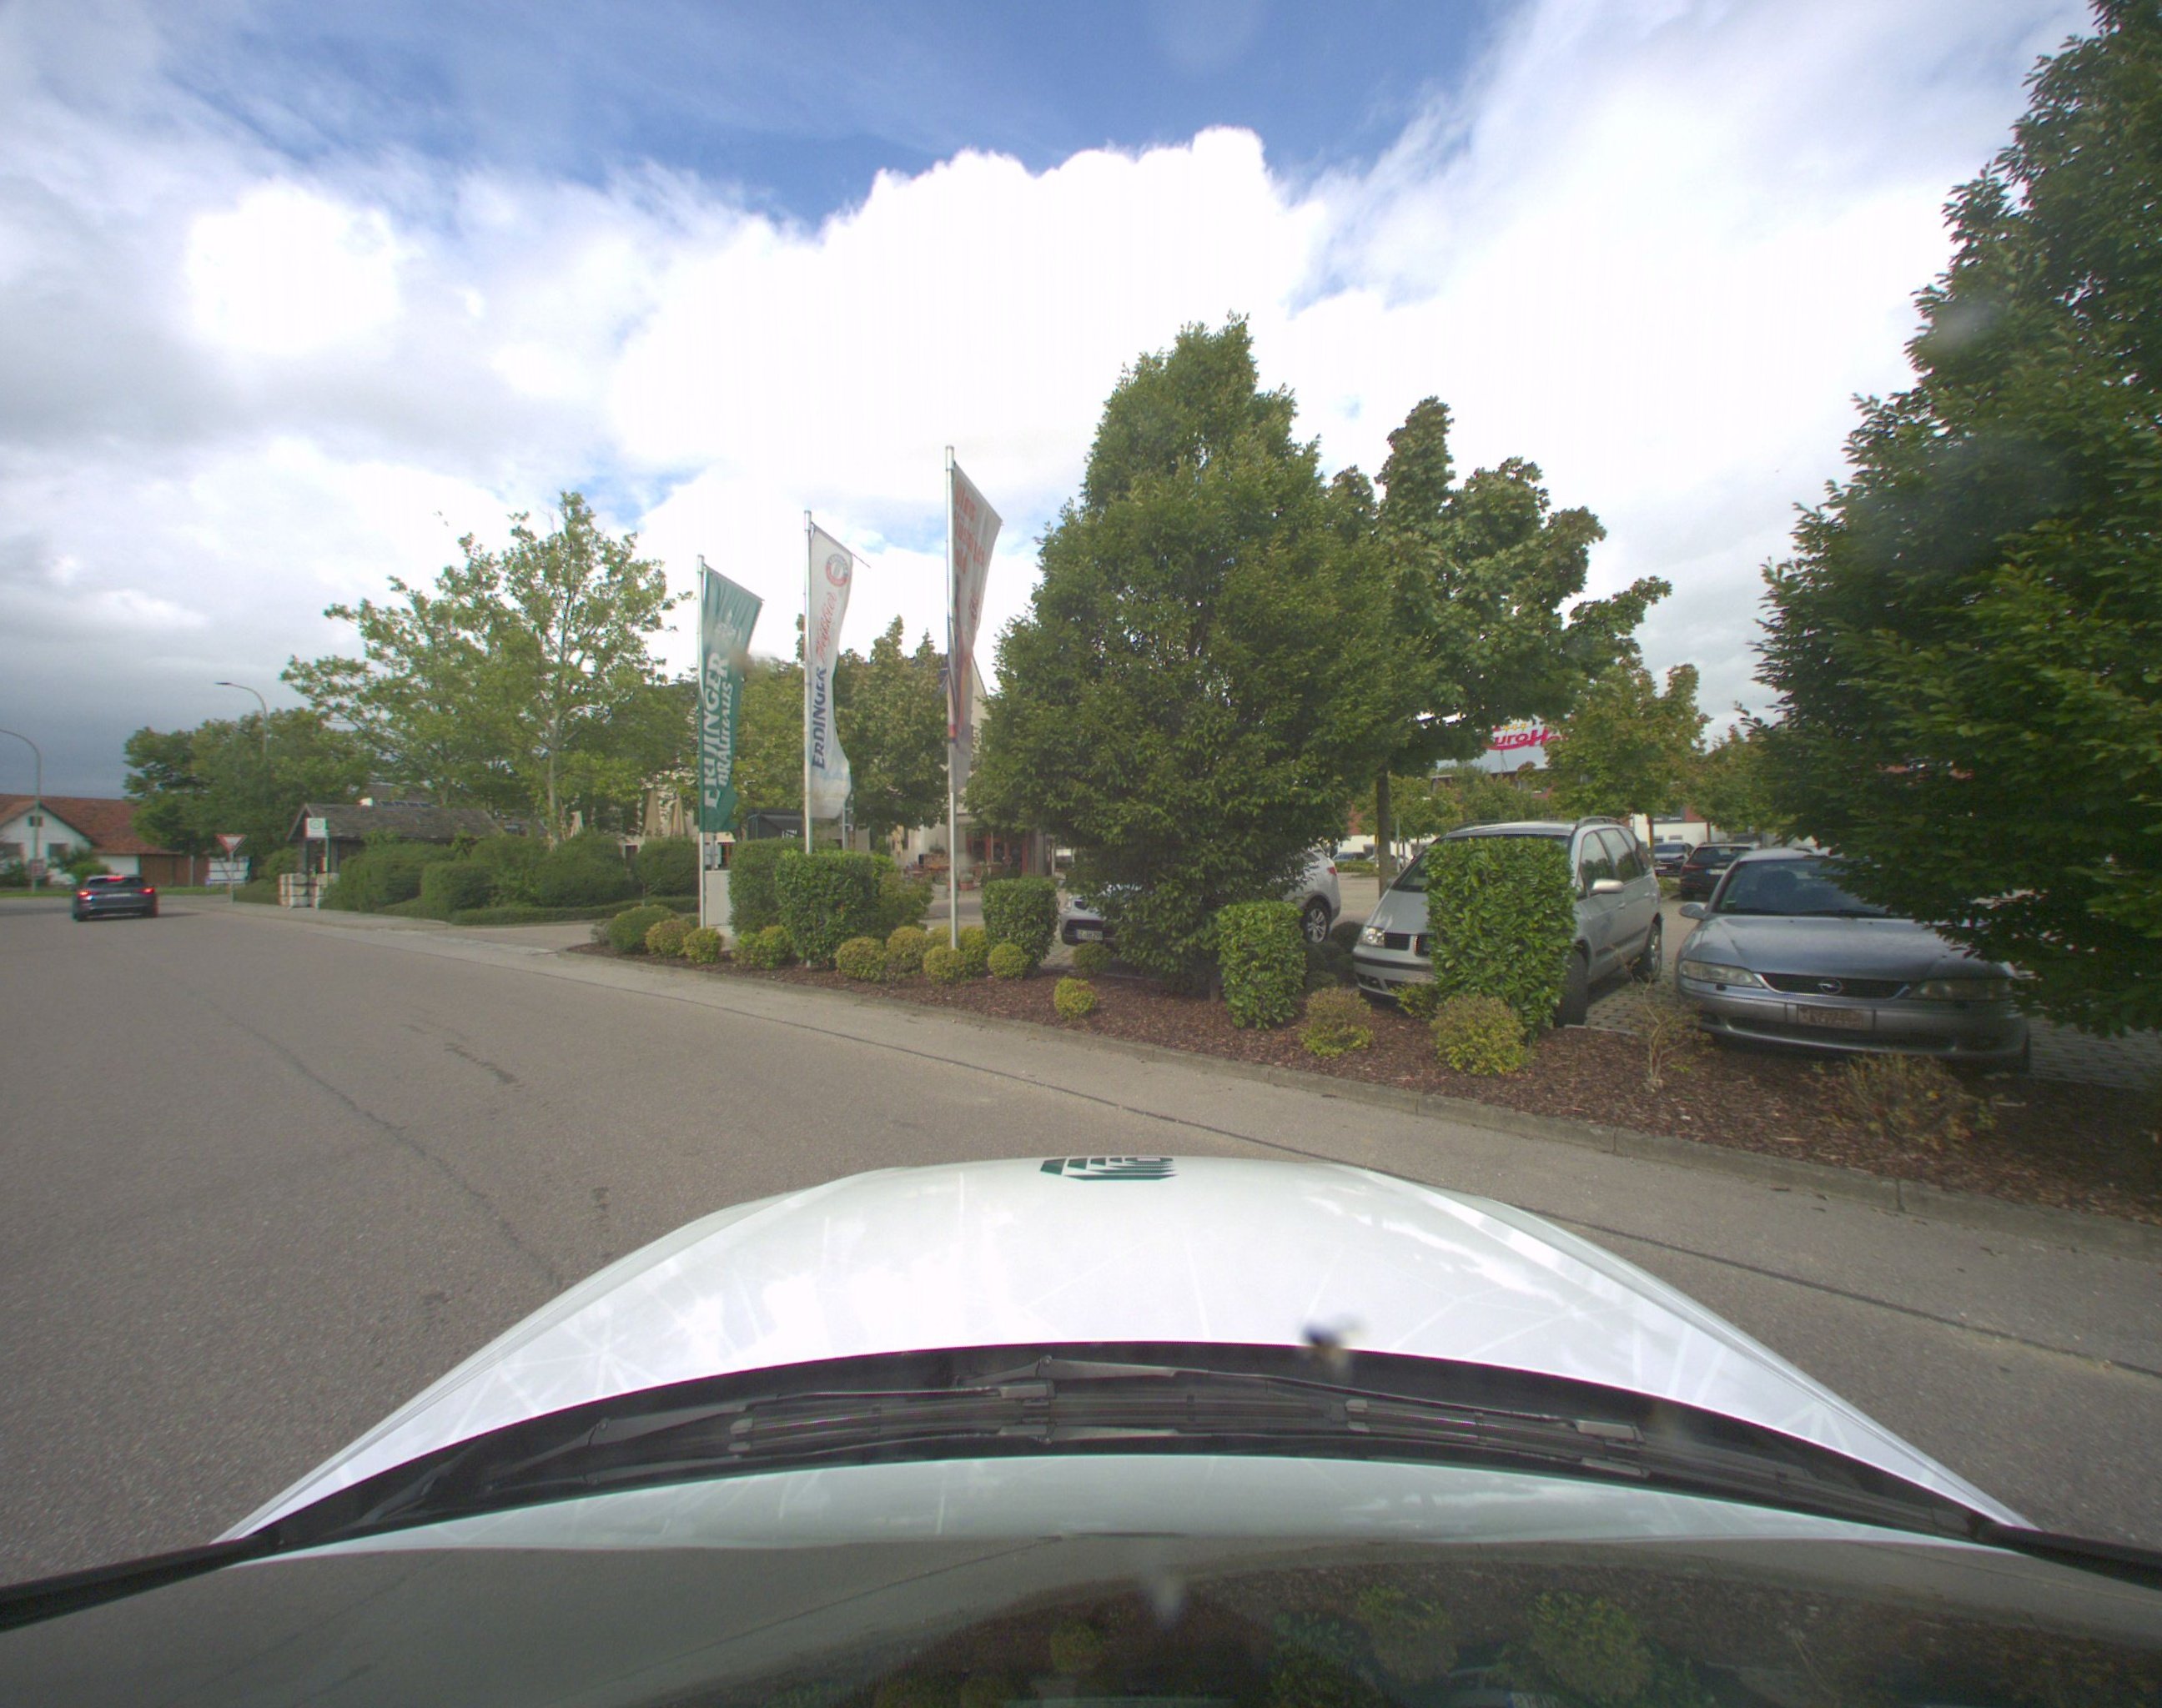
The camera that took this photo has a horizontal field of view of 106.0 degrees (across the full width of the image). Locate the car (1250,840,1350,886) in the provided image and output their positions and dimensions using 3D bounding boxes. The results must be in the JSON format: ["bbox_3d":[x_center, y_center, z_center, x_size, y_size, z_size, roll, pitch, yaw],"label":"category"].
[{"bbox_3d":[8.194,0.333,30.290,4.022,1.591,1.746,0,-1,-44],"label":"car"}]

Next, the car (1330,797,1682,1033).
[{"bbox_3d":[4.358,0.449,7.996,4.387,1.716,1.637,0,-1,-42],"label":"car"}]

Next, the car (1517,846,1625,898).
[{"bbox_3d":[14.078,0.483,23.295,1.700,1.346,4.301,-1,-1,44],"label":"car"}]

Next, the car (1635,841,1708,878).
[{"bbox_3d":[25.122,0.226,34.587,4.268,1.484,1.637,0,-1,-42],"label":"car"}]

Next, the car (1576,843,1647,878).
[{"bbox_3d":[23.669,0.276,36.271,4.268,1.484,1.637,0,-1,-42],"label":"car"}]

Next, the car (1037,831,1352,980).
[{"bbox_3d":[1.807,0.583,11.747,4.706,1.696,1.895,-2,0,-42],"label":"car"}]

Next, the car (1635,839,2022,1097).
[{"bbox_3d":[5.838,0.603,6.264,4.022,1.350,1.705,0,-1,-42],"label":"car"}]

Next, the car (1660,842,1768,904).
[{"bbox_3d":[16.256,0.446,20.829,1.700,1.428,4.301,-1,-1,44],"label":"car"}]

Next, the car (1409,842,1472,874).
[{"bbox_3d":[17.987,0.191,40.689,1.800,1.500,3.870,-1,-1,40],"label":"car"}]

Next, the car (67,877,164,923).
[{"bbox_3d":[-34.493,1.599,29.075,3.614,1.462,1.816,-1,0,33],"label":"car"}]
